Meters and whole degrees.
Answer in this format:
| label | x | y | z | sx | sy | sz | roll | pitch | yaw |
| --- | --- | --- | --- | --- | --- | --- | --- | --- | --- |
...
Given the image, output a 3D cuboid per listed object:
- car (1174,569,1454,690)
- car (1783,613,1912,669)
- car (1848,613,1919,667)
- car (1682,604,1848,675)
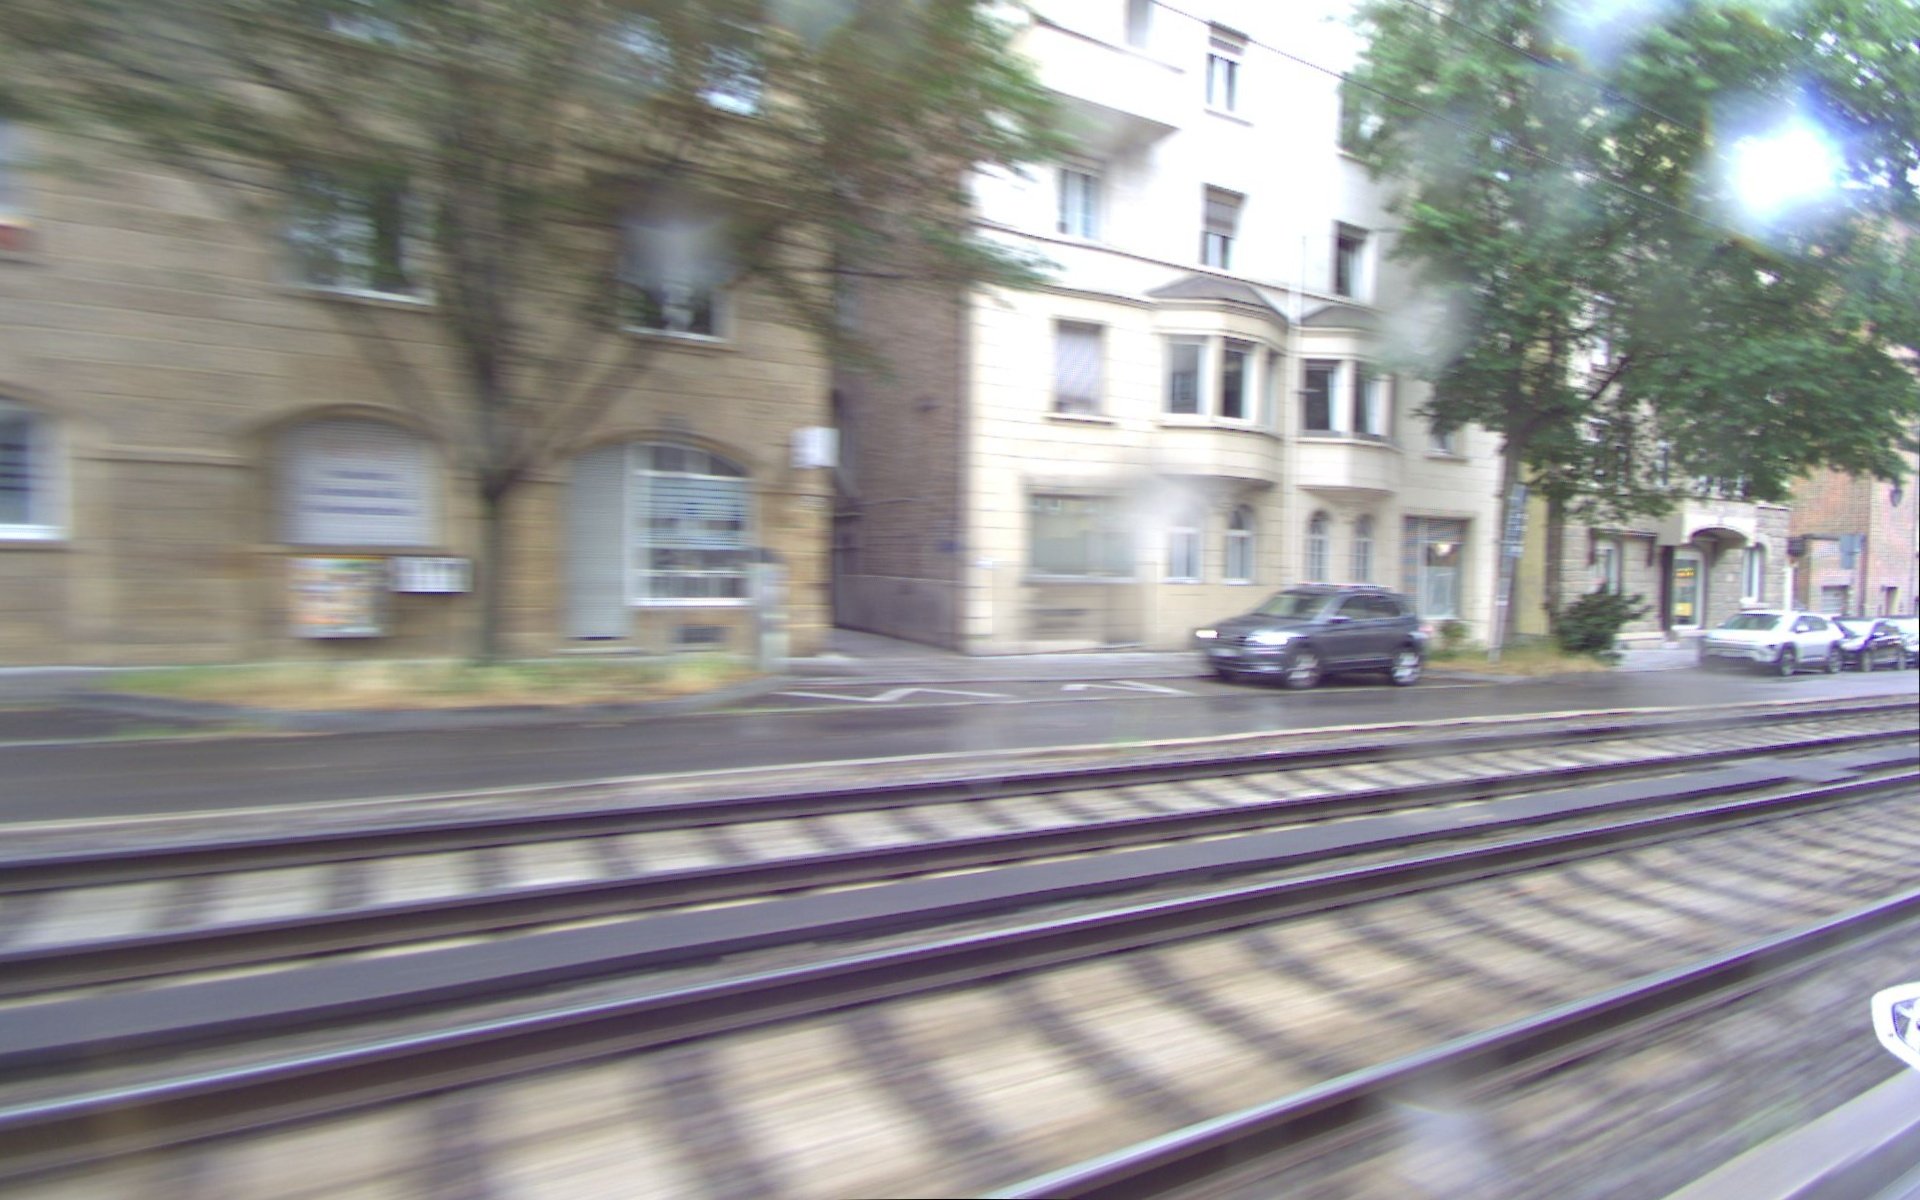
| label | x | y | z | sx | sy | sz | roll | pitch | yaw |
| --- | --- | --- | --- | --- | --- | --- | --- | --- | --- |
| car | 6.179 | 0.453 | 17.392 | 4.725 | 1.765 | 1.942 | 1 | 4 | -32 |
| car | 25.218 | 1.140 | 28.527 | 3.644 | 1.434 | 1.658 | 1 | 1 | -30 |
| car | 28.452 | 1.172 | 30.363 | 3.010 | 1.486 | 1.564 | 1 | 1 | -31 |
| car | 20.889 | 0.977 | 26.033 | 4.279 | 1.627 | 1.951 | 1 | 1 | -31 |
